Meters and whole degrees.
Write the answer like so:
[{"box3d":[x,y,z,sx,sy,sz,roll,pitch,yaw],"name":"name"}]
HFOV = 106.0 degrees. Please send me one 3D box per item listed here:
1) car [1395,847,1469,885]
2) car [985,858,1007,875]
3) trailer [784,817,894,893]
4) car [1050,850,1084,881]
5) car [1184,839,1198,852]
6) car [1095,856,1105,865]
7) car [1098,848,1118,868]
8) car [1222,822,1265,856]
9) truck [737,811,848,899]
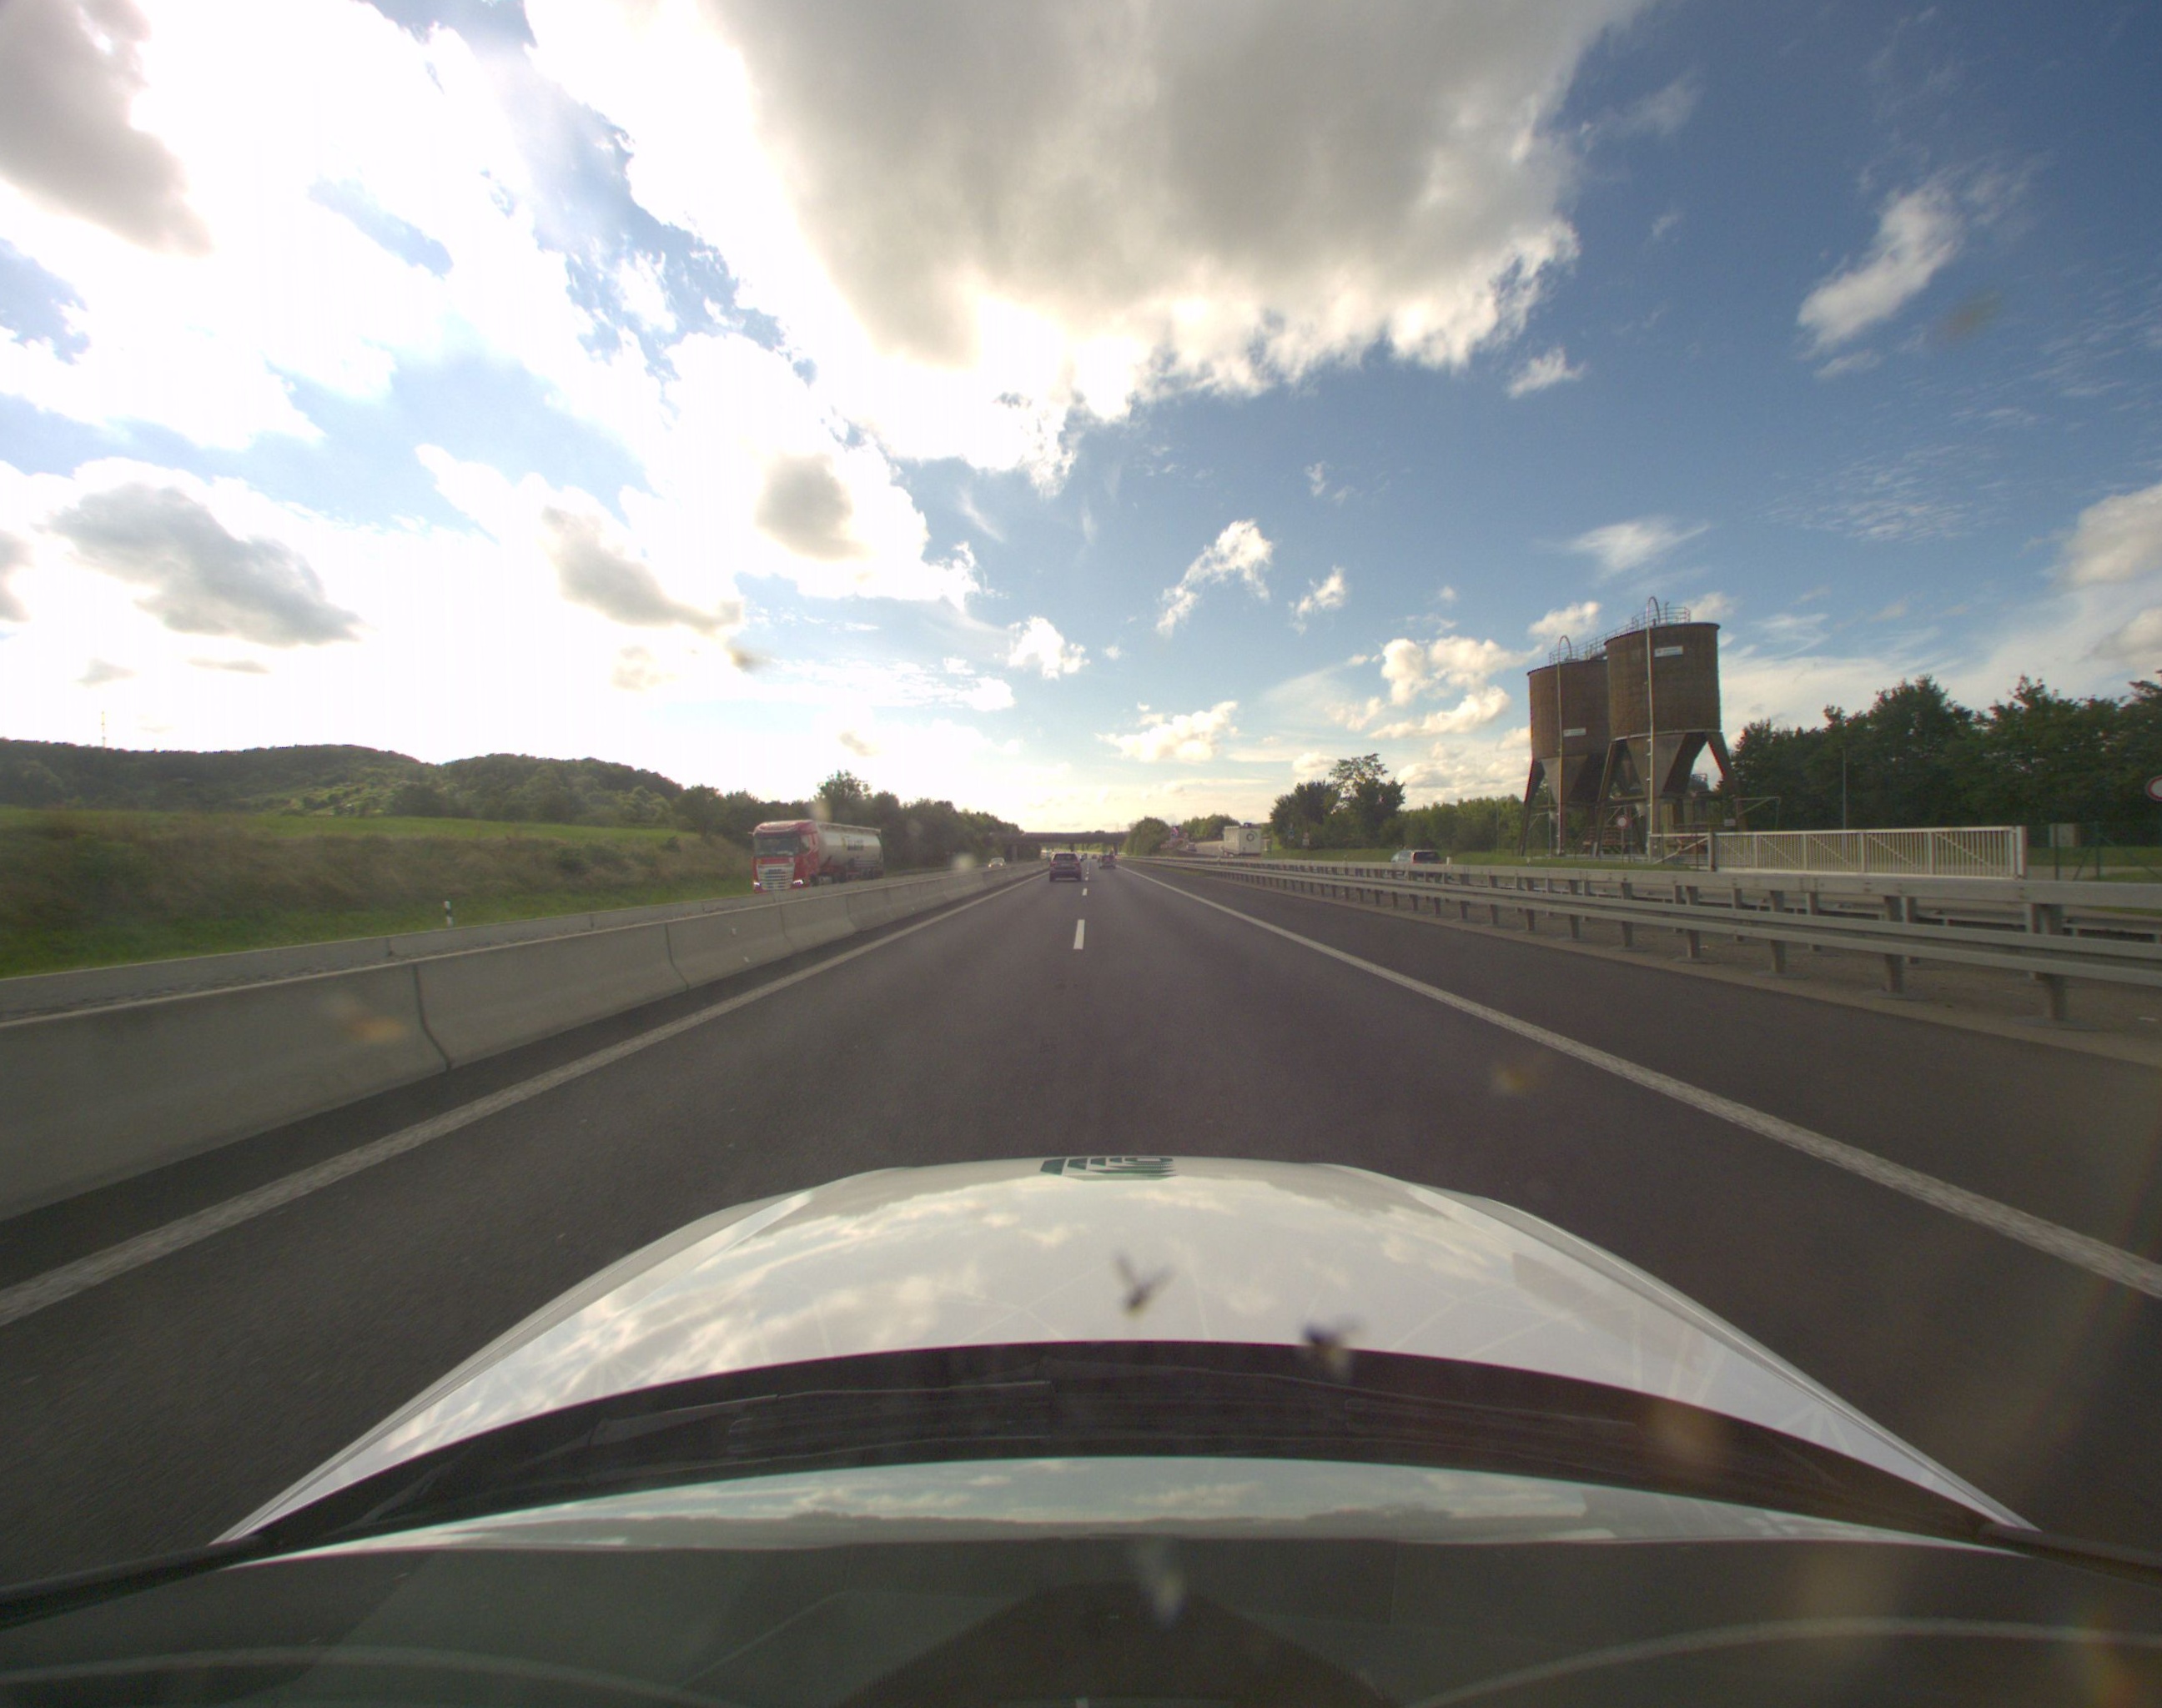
[{"box3d":[17.673,0.578,41.227,1.987,1.717,4.000,-3,0,1],"name":"car"},{"box3d":[-9.535,1.357,91.370,1.801,1.832,4.398,-3,0,2],"name":"car"},{"box3d":[-14.068,0.053,48.602,2.703,3.887,11.164,-3,0,2],"name":"trailer"},{"box3d":[-0.787,0.663,48.216,1.743,1.630,3.610,-3,0,2],"name":"car"},{"box3d":[18.806,-1.458,139.438,1.984,2.013,4.005,-3,0,5],"name":"car"},{"box3d":[3.975,1.318,173.910,1.968,1.779,4.120,-3,0,1],"name":"car"},{"box3d":[2.867,0.433,87.651,1.987,2.081,4.000,-3,0,1],"name":"car"},{"box3d":[19.237,-1.710,96.809,3.564,3.676,7.549,-3,0,1],"name":"car"},{"box3d":[-14.288,0.058,41.005,2.727,3.924,6.903,-3,0,2],"name":"truck"}]
